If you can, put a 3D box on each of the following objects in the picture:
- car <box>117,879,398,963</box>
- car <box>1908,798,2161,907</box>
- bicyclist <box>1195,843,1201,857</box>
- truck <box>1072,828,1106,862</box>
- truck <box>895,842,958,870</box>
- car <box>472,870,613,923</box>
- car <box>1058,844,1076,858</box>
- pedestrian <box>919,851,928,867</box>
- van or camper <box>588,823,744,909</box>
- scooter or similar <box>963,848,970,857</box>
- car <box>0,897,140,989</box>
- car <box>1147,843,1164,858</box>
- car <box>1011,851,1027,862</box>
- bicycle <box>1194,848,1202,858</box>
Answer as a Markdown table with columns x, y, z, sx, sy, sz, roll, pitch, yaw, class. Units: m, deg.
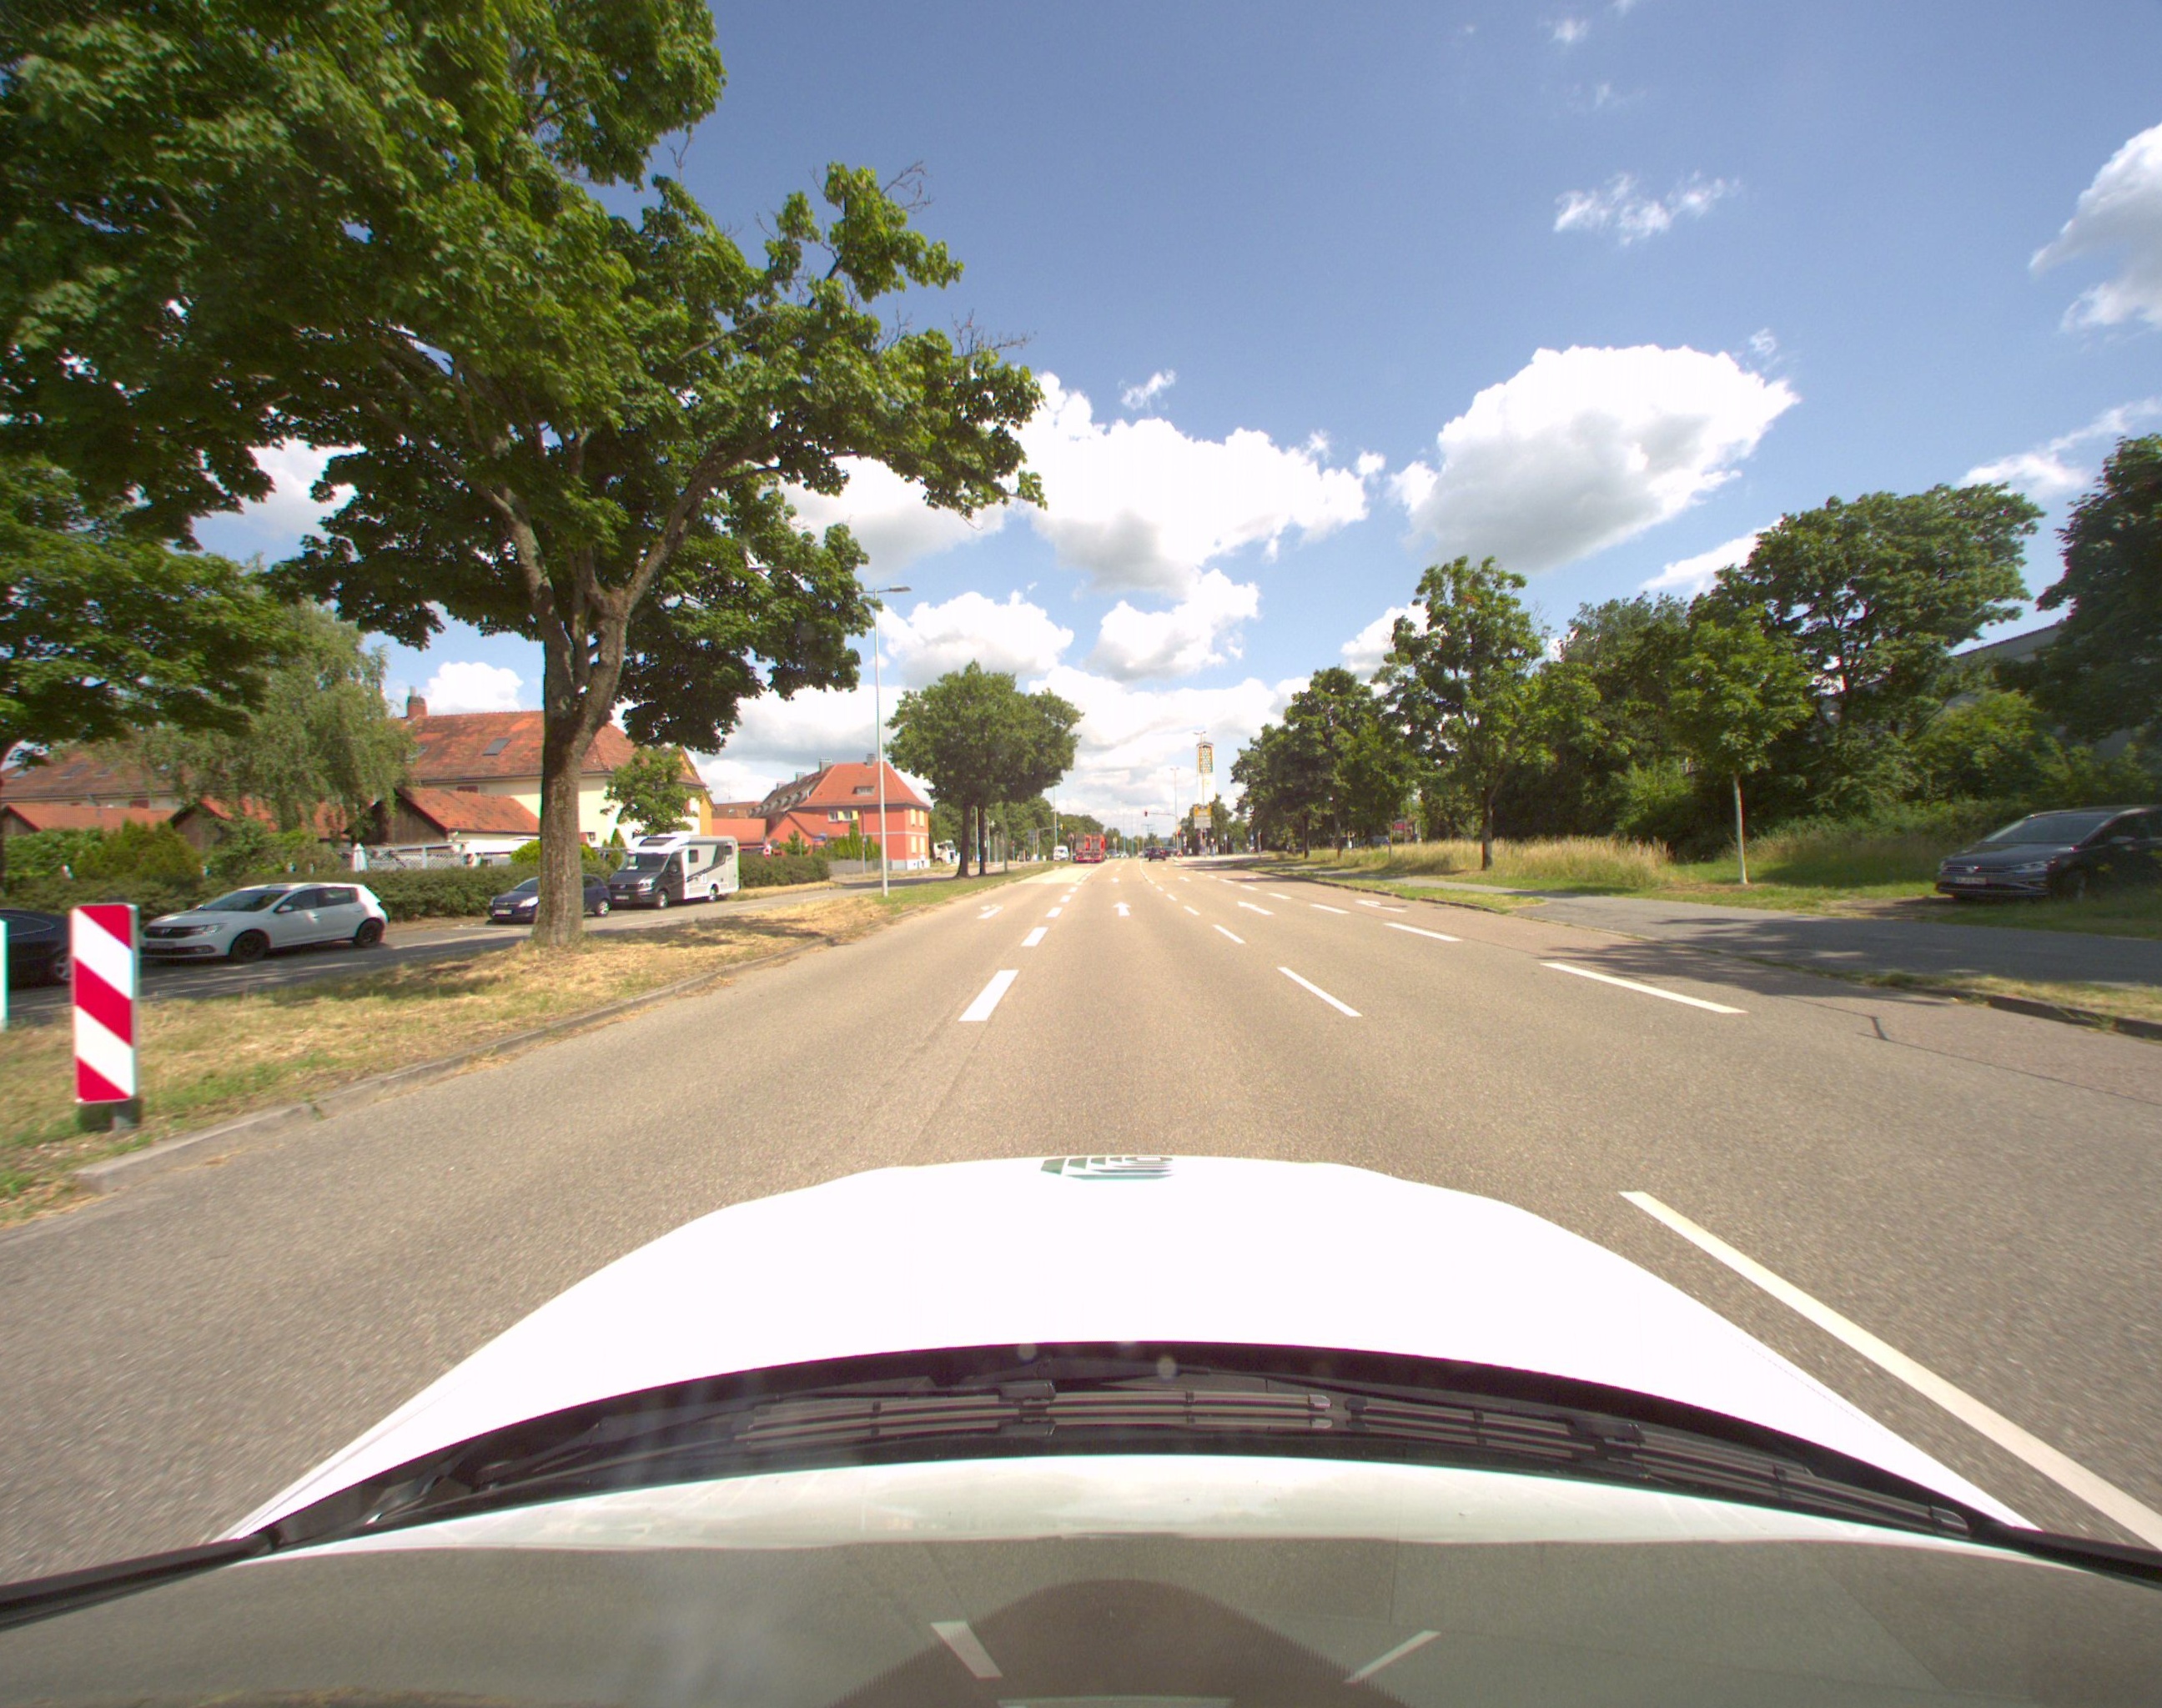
| x | y | z | sx | sy | sz | roll | pitch | yaw | class |
| --- | --- | --- | --- | --- | --- | --- | --- | --- | --- |
| -17.394 | 1.331 | 17.541 | 1.681 | 1.485 | 4.127 | 0 | -1 | 3 | car |
| 17.227 | -0.077 | 14.117 | 4.155 | 1.493 | 1.782 | -4 | 2 | -4 | car |
| 14.297 | -0.518 | 99.615 | 0.643 | 1.661 | 0.653 | 0 | -1 | 19 | bicyclist |
| 0.990 | -0.861 | 87.426 | 3.058 | 3.414 | 11.077 | 0 | -1 | 3 | truck |
| -22.353 | 0.247 | 117.832 | 8.543 | 3.971 | 2.982 | 0 | -1 | 16 | truck |
| -16.897 | 1.292 | 25.812 | 1.629 | 1.485 | 3.996 | 0 | -1 | 3 | car |
| -1.666 | -0.311 | 99.934 | 1.725 | 1.508 | 4.656 | -5 | -1 | 3 | car |
| -15.637 | 0.512 | 81.029 | 0.693 | 1.583 | 0.852 | 0 | -1 | 3 | pedestrian |
| -16.644 | 0.385 | 33.346 | 2.249 | 3.112 | 7.327 | 0 | 1 | 3 | van or camper |
| -14.023 | -0.193 | 99.726 | 0.587 | 1.164 | 1.763 | 0 | -1 | 3 | scooter or similar |
| -17.607 | 1.433 | 12.151 | 1.629 | 1.306 | 4.588 | 0 | 0 | 3 | car |
| 8.008 | -0.408 | 87.774 | 1.792 | 1.552 | 4.003 | 0 | -1 | 3 | car |
| -8.743 | 0.318 | 115.243 | 1.629 | 1.485 | 3.996 | 0 | -1 | 3 | car |
| 14.358 | -0.104 | 99.795 | 0.643 | 1.107 | 1.937 | 0 | -1 | 19 | bicycle |
